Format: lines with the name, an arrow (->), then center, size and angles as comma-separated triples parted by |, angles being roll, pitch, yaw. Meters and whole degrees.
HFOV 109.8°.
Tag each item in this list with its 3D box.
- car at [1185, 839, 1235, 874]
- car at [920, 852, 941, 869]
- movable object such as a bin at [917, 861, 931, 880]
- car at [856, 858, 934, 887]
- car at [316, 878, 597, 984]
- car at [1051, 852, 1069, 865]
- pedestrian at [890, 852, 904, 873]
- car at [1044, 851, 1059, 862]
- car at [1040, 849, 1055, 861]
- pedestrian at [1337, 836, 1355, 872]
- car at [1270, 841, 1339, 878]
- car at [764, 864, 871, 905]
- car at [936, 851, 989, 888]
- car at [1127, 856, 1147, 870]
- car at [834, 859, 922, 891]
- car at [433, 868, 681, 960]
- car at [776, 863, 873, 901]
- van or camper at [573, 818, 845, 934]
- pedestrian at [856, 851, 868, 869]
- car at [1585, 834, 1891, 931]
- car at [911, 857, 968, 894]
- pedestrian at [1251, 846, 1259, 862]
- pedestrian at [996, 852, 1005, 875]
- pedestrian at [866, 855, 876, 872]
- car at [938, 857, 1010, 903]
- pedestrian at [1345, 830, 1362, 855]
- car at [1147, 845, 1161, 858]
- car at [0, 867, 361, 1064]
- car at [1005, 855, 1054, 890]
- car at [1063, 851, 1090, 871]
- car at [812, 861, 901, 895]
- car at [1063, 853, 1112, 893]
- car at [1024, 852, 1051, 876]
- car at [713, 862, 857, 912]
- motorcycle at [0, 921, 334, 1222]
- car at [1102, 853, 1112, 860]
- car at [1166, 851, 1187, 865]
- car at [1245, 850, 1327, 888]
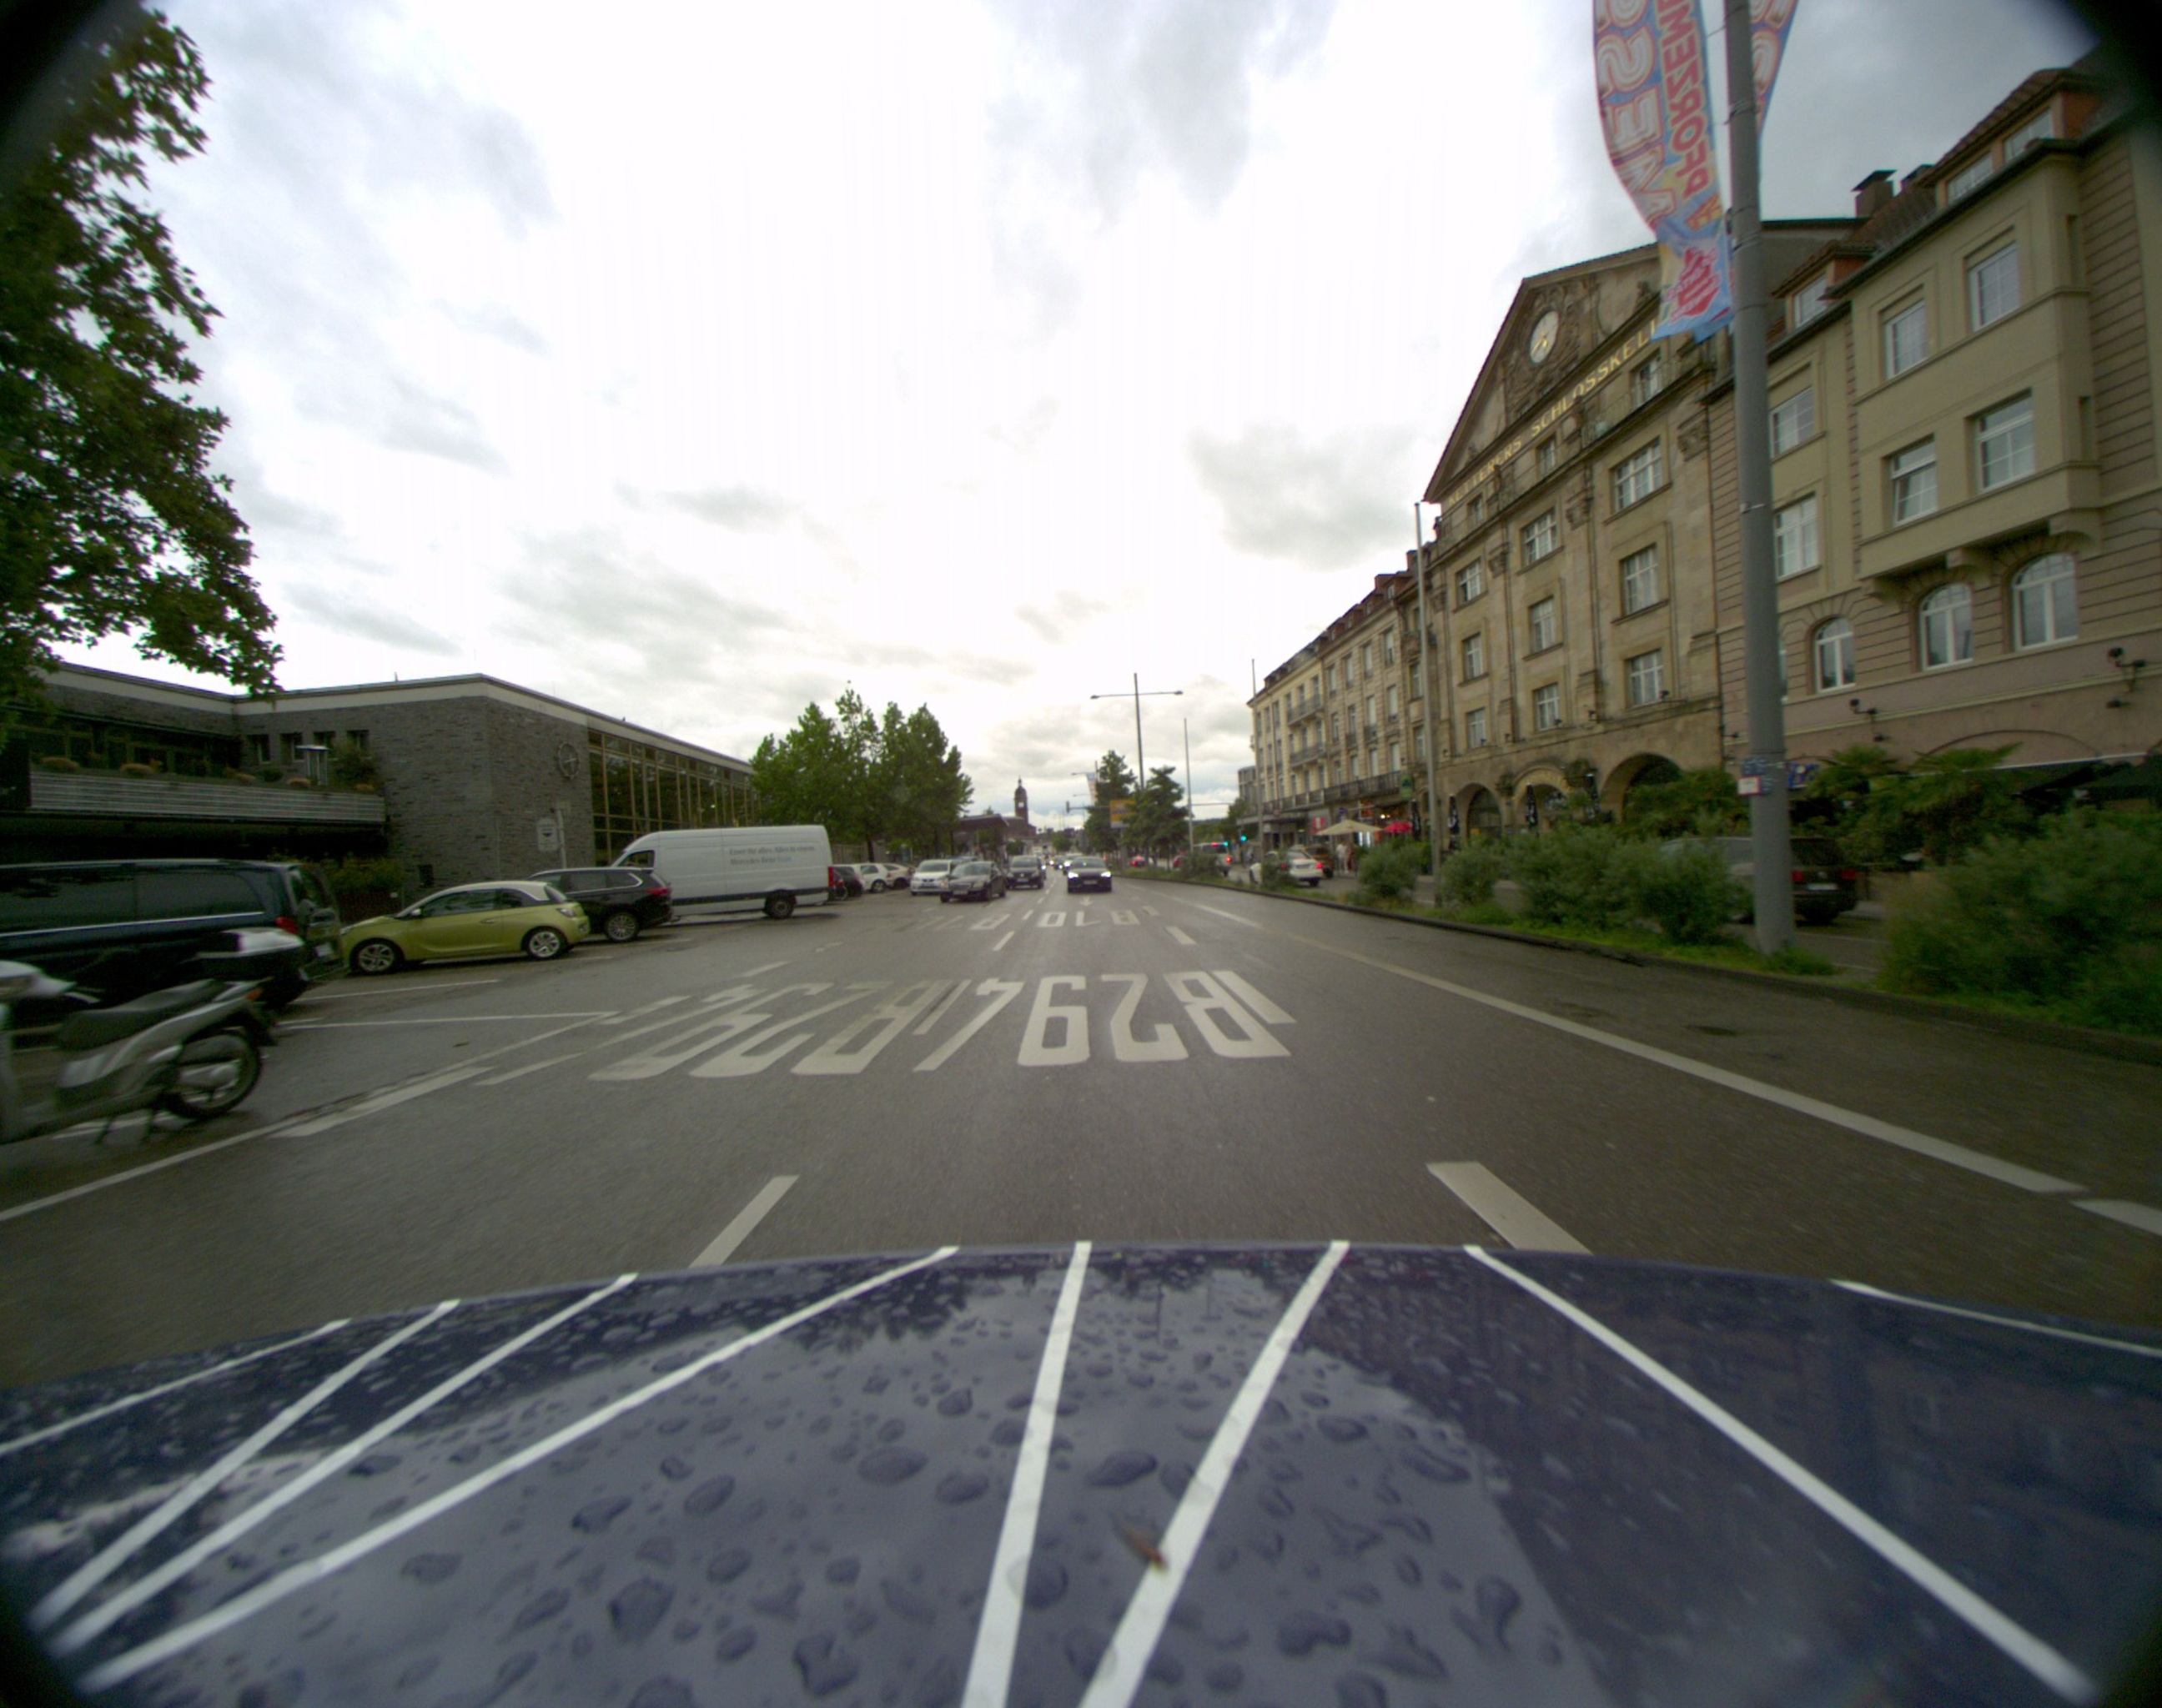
car -> 7.848, 0.134, 46.696 | 1.926, 1.962, 4.853 | -2, 1, -4
car -> -15.475, 0.672, 78.214 | 1.821, 1.546, 4.461 | -6, 1, -10
movable object such as a bin -> -9.667, 1.011, 46.731 | 0.691, 1.101, 0.548 | -5, 2, -15
car -> -10.307, 0.992, 42.061 | 3.935, 1.391, 1.776 | -2, 1, -22
car -> -11.088, 1.296, 13.846 | 3.595, 1.515, 1.759 | -2, 1, -26
car -> -2.468, 0.491, 87.706 | 1.984, 1.438, 3.907 | -2, 0, -1
pedestrian -> -15.679, 0.748, 64.819 | 0.823, 1.747, 0.913 | -2, 1, 5
car -> -4.151, 0.330, 106.686 | 2.055, 1.581, 4.075 | -2, 0, -4
car -> -5.013, 0.089, 113.662 | 2.055, 1.582, 4.075 | -2, 2, -1
pedestrian -> 14.246, -0.022, 40.847 | 0.678, 1.899, 0.765 | -2, 1, -1
car -> 11.174, 0.242, 38.224 | 1.999, 1.670, 4.100 | -2, 1, -4
car -> -10.357, 1.154, 29.901 | 3.695, 1.391, 1.775 | -2, 1, -29
car -> -5.962, 0.739, 38.747 | 1.824, 1.673, 4.417 | -2, 0, 2
car -> 6.562, 1.074, 89.265 | 1.847, 1.455, 5.029 | -2, 0, -1
car -> -10.274, 1.031, 38.436 | 3.937, 1.391, 1.775 | -2, 1, -29
car -> -11.287, 1.215, 16.774 | 4.242, 1.625, 1.880 | -2, 1, -29
car -> -10.972, 1.153, 32.488 | 3.625, 1.391, 1.775 | -2, 1, -29
van or camper -> -10.329, 0.478, 21.539 | 6.540, 2.853, 2.275 | -2, 1, -30
pedestrian -> -18.940, 0.540, 65.658 | 0.762, 1.502, 0.852 | -2, 1, -1
car -> 12.549, 0.453, 15.047 | 1.795, 1.569, 4.738 | -2, 1, -3
car -> -6.099, 0.891, 33.098 | 1.661, 1.466, 3.588 | -2, 0, 1
pedestrian -> 16.583, 0.036, 72.476 | 0.643, 1.480, 0.747 | -3, 0, 17
pedestrian -> -6.057, 0.712, 57.092 | 0.560, 1.741, 0.700 | -1, 1, 5
pedestrian -> -20.487, 0.901, 74.151 | 0.762, 1.639, 0.852 | -2, 1, -1
car -> -3.815, 0.883, 27.726 | 1.871, 1.466, 3.826 | -2, 0, 2
pedestrian -> 18.023, -0.766, 50.256 | 0.765, 1.661, 0.678 | -2, 2, -7
car -> 10.559, -0.346, 109.765 | 1.815, 1.740, 3.812 | -2, 1, 4
car -> -11.396, 1.165, 8.324 | 4.707, 1.864, 2.104 | -2, 1, -32
car -> -2.393, 0.818, 35.981 | 1.871, 1.466, 3.826 | -2, 0, 2
car -> -0.342, 0.506, 59.891 | 1.983, 1.438, 3.908 | -1, 1, 1
car -> -10.470, 1.080, 35.467 | 3.625, 1.391, 1.775 | -2, 1, -29
car -> 0.321, 0.732, 31.455 | 1.871, 1.466, 3.826 | -2, 0, 2
car -> -2.834, 0.636, 49.836 | 1.620, 1.477, 3.669 | -2, 0, -1
car -> -10.463, 1.114, 26.921 | 4.477, 1.462, 1.915 | -2, 1, -30
motorcycle -> -5.740, 1.173, 4.412 | 0.645, 1.344, 2.109 | -2, 1, 1
car -> 5.553, 0.474, 161.534 | 1.983, 1.438, 3.908 | -3, 1, 1
car -> 10.690, 0.387, 85.002 | 1.682, 1.437, 3.914 | -2, 1, -2
car -> 8.413, 0.548, 31.631 | 1.795, 1.399, 4.983 | -2, 1, -3
